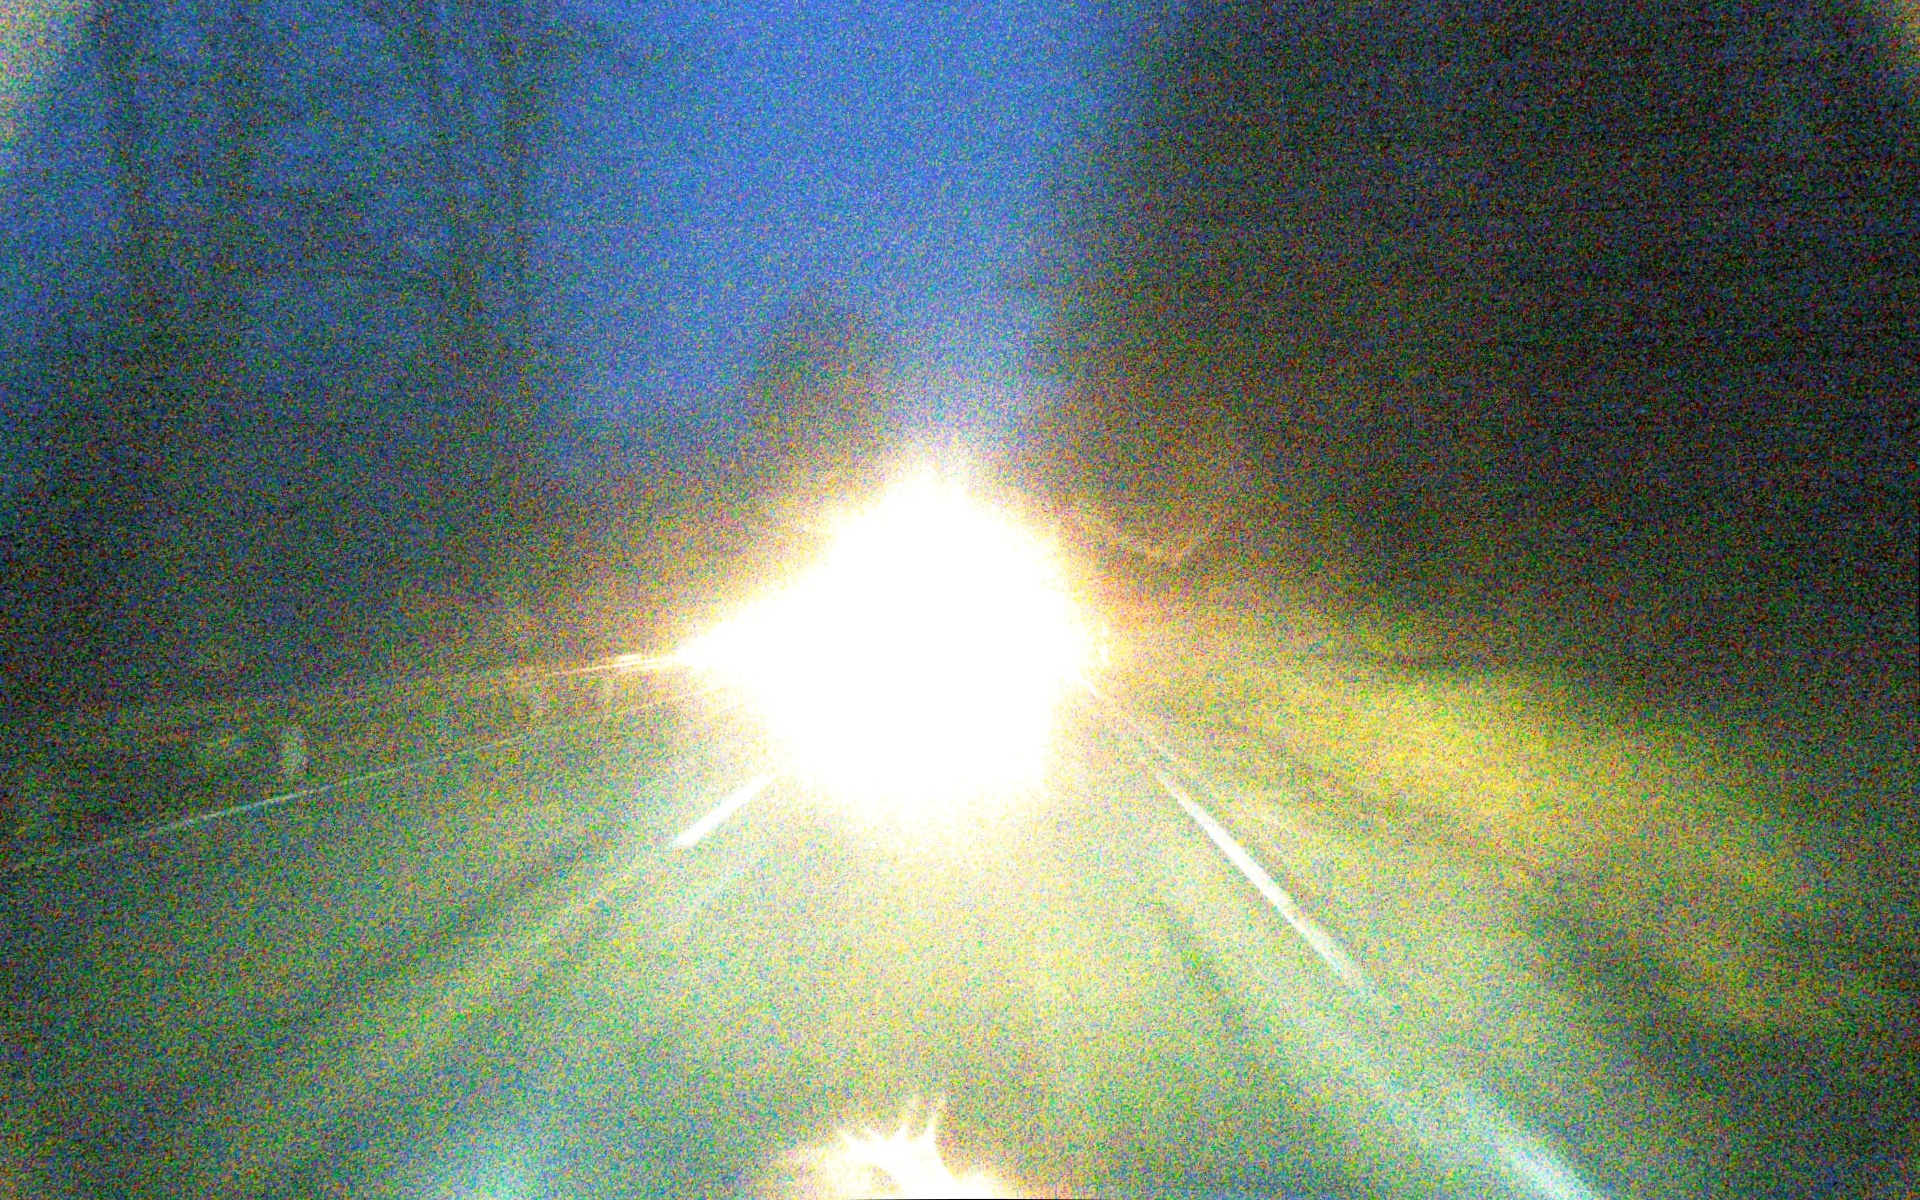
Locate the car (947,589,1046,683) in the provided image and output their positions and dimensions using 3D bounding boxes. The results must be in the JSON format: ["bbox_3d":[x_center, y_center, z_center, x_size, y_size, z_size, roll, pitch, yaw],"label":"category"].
[{"bbox_3d":[0.746,0.734,36.394,1.953,1.838,3.916,-2,1,-2],"label":"car"}]

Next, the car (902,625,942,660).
[{"bbox_3d":[-1.952,2.164,85.744,1.762,1.607,4.458,-3,0,2],"label":"car"}]
